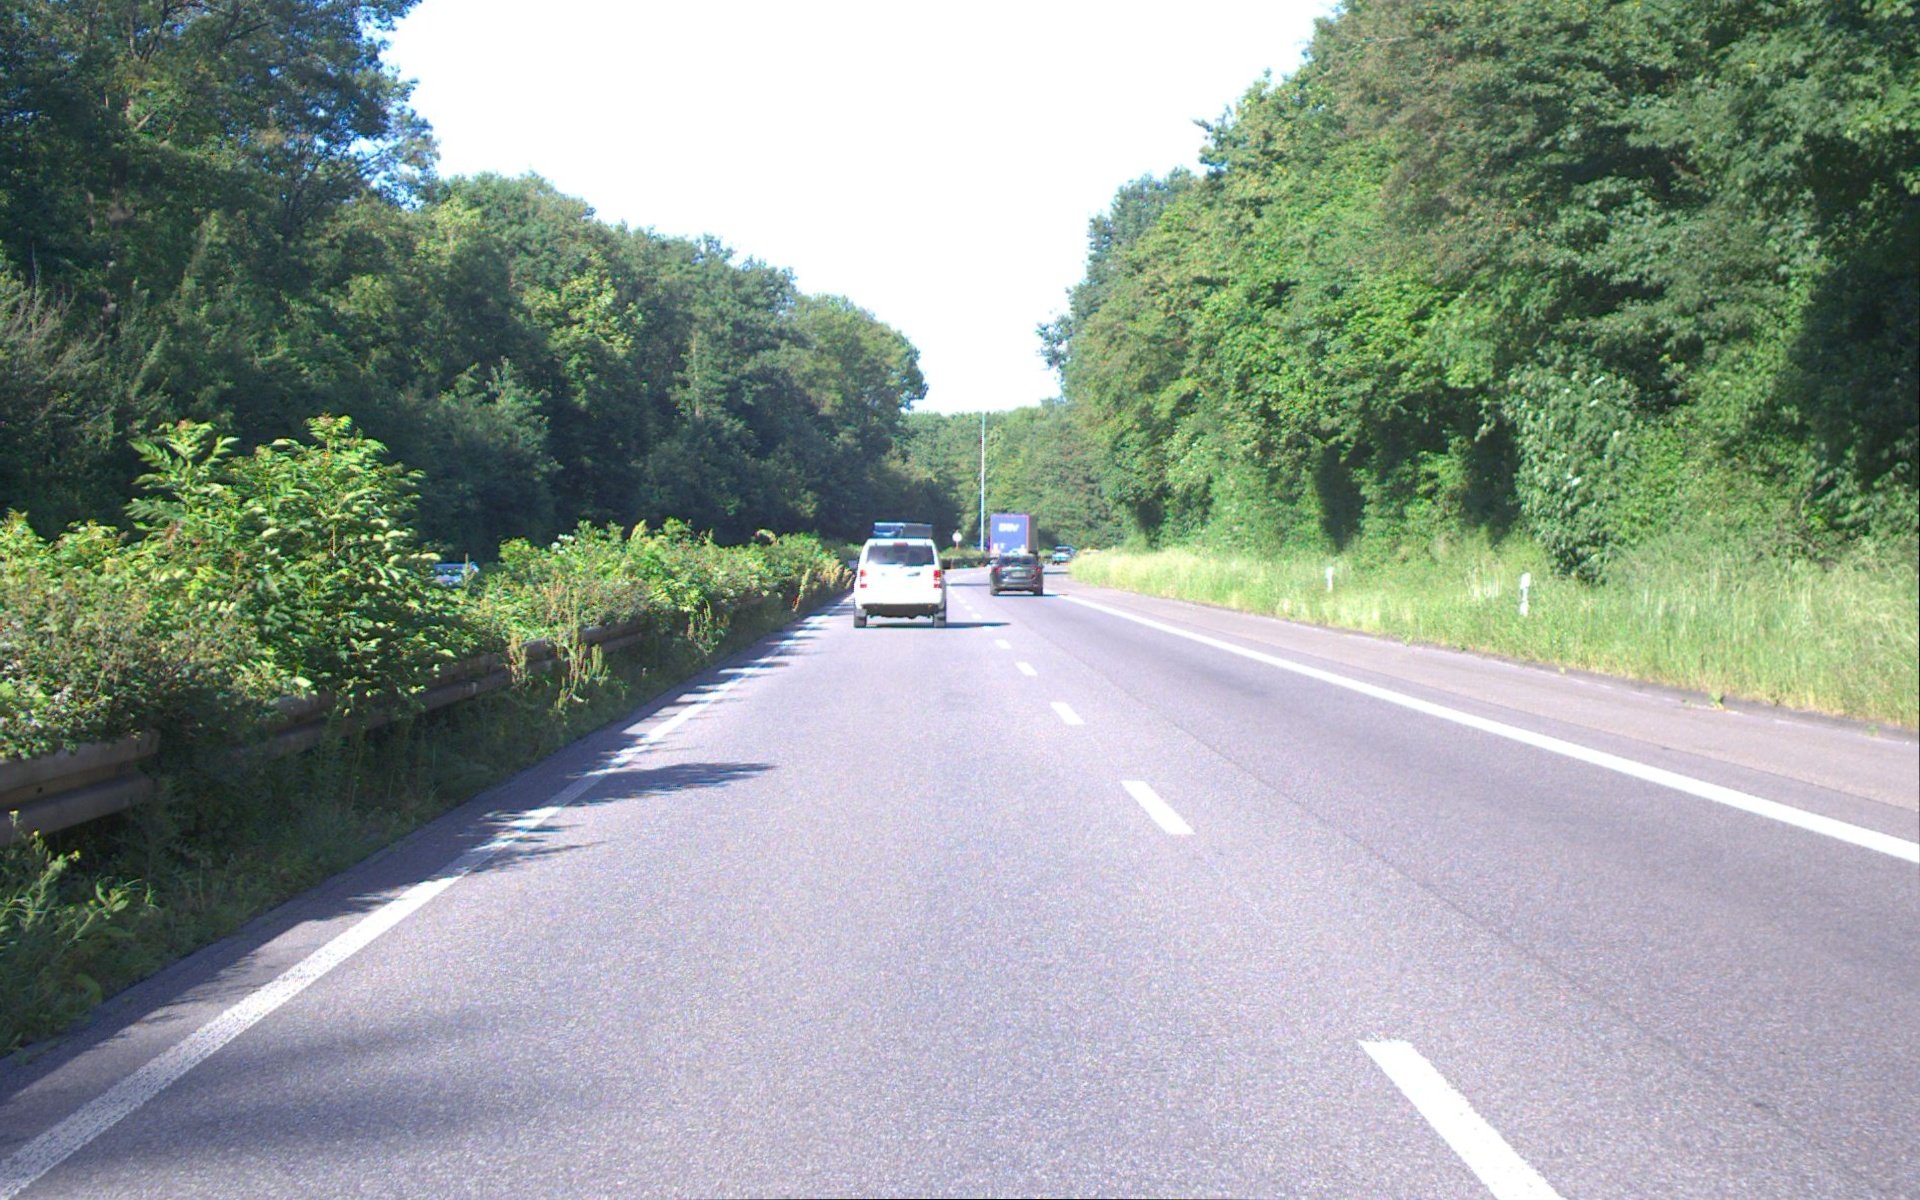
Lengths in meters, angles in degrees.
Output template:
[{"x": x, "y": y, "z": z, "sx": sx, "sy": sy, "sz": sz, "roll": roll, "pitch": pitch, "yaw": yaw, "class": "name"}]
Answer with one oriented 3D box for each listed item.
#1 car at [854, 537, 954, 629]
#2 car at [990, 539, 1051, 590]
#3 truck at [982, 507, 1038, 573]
[{"x": -1.137, "y": -0.362, "z": 69.451, "sx": 1.951, "sy": 1.776, "sz": 4.588, "roll": 0, "pitch": 1, "yaw": -1, "class": "car"}, {"x": 2.110, "y": -1.251, "z": 120.624, "sx": 1.951, "sy": 1.776, "sz": 4.588, "roll": 0, "pitch": 1, "yaw": -1, "class": "car"}, {"x": 3.429, "y": -4.047, "z": 233.038, "sx": 3.734, "sy": 4.328, "sz": 9.304, "roll": 0, "pitch": 1, "yaw": 1, "class": "truck"}]
